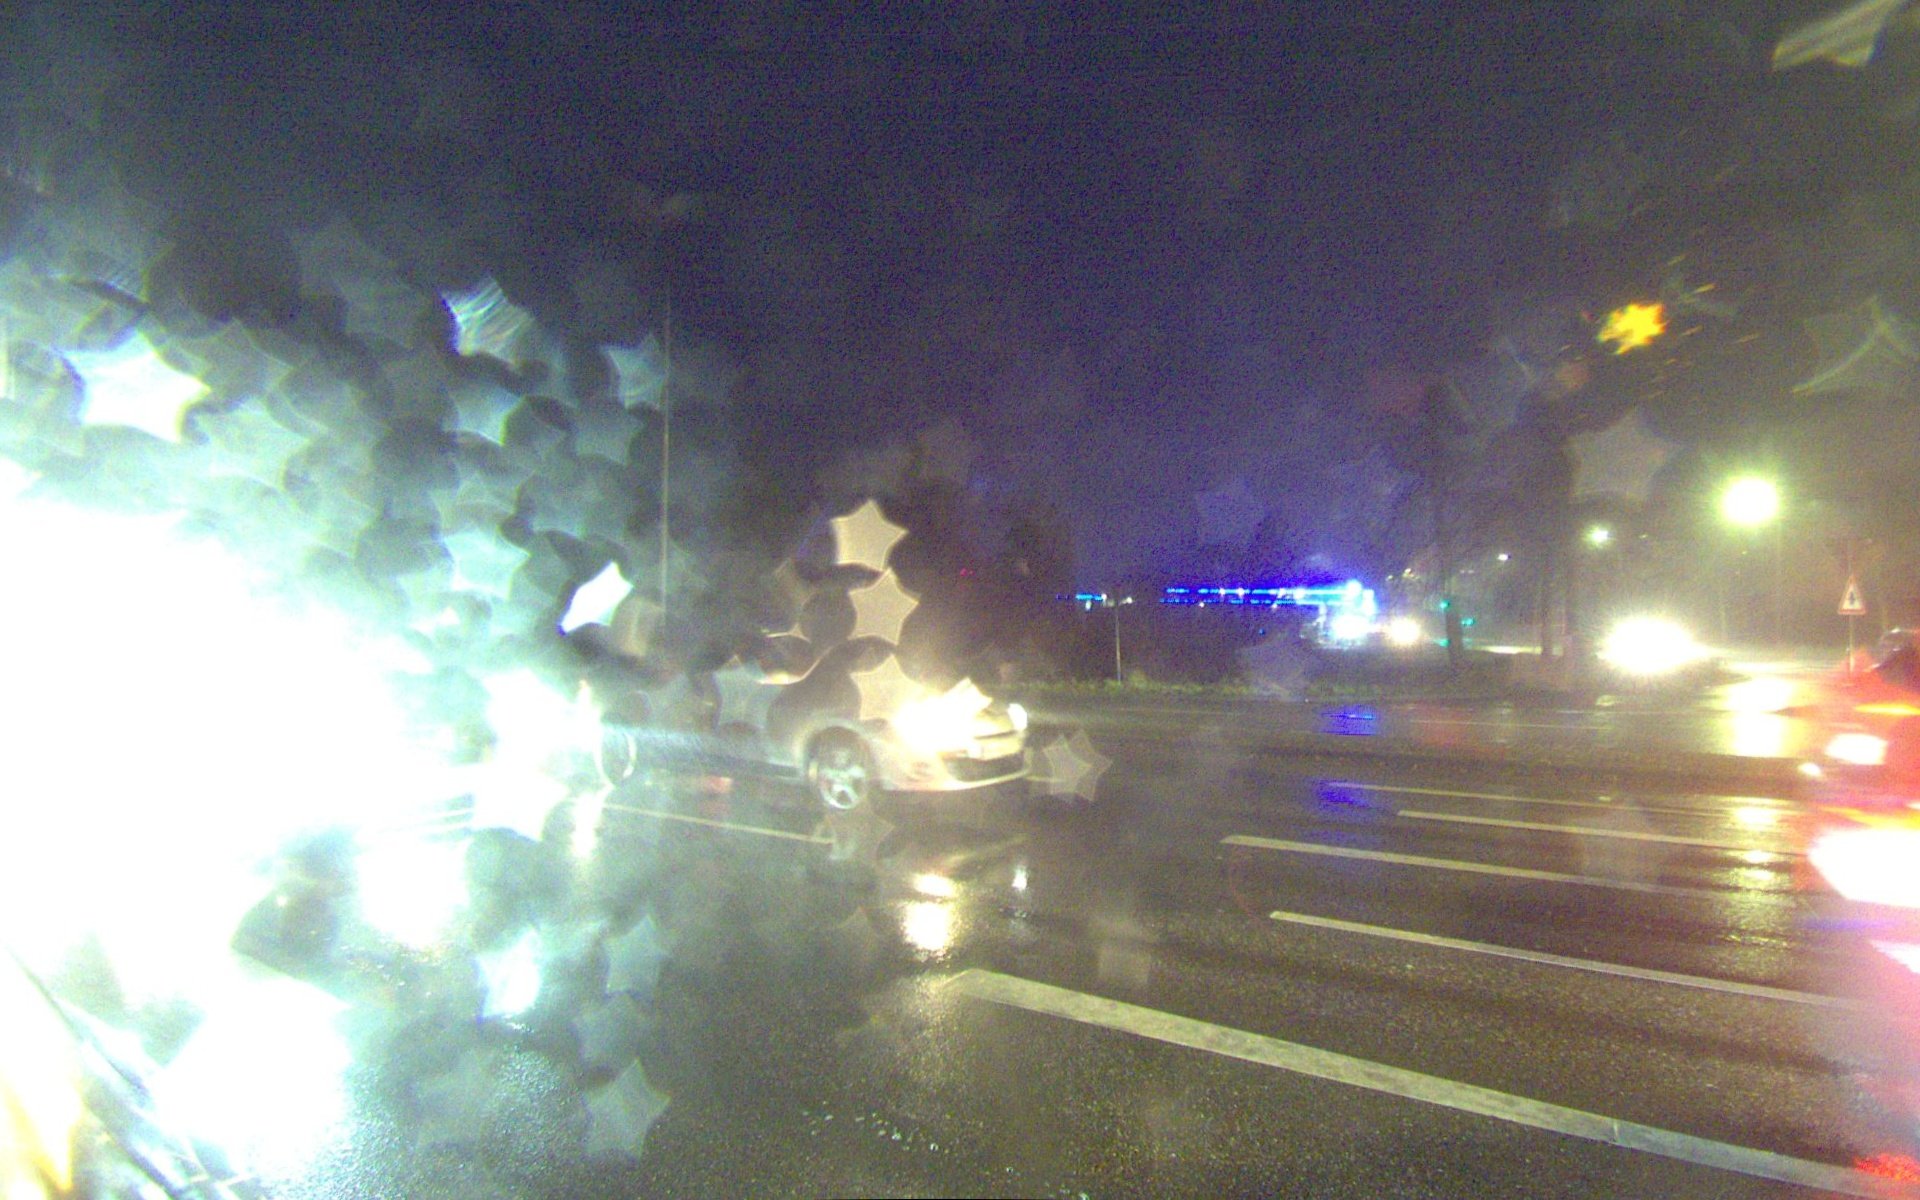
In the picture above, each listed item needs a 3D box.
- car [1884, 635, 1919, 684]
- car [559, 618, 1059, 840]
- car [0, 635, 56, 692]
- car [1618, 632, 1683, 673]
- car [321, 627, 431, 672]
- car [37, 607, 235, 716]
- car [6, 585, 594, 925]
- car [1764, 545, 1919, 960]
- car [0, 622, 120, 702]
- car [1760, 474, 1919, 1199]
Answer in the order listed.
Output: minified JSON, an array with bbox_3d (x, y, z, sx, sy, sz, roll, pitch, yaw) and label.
[{"bbox_3d":[41.094,2.516,42.666,1.698,1.953,3.591,-1,0,16],"label":"car"},{"bbox_3d":[-1.437,0.896,8.720,4.281,1.447,1.721,-1,0,36],"label":"car"},{"bbox_3d":[-27.849,1.814,29.532,4.172,1.456,1.658,-1,-1,41],"label":"car"},{"bbox_3d":[38.502,2.917,56.538,1.647,2.095,3.983,-1,0,13],"label":"car"},{"bbox_3d":[-20.173,1.700,34.889,4.466,1.447,1.720,-2,-2,38],"label":"car"},{"bbox_3d":[-15.673,1.044,19.166,4.716,1.807,1.974,-1,-1,39],"label":"car"},{"bbox_3d":[-4.450,0.746,6.673,4.012,1.603,1.835,0,0,34],"label":"car"},{"bbox_3d":[5.853,0.622,3.975,3.972,1.671,1.895,0,-1,32],"label":"car"},{"bbox_3d":[-20.804,1.332,23.058,4.232,1.607,1.766,-1,0,39],"label":"car"},{"bbox_3d":[3.922,0.590,1.156,4.464,1.666,1.814,-2,-3,32],"label":"car"}]
